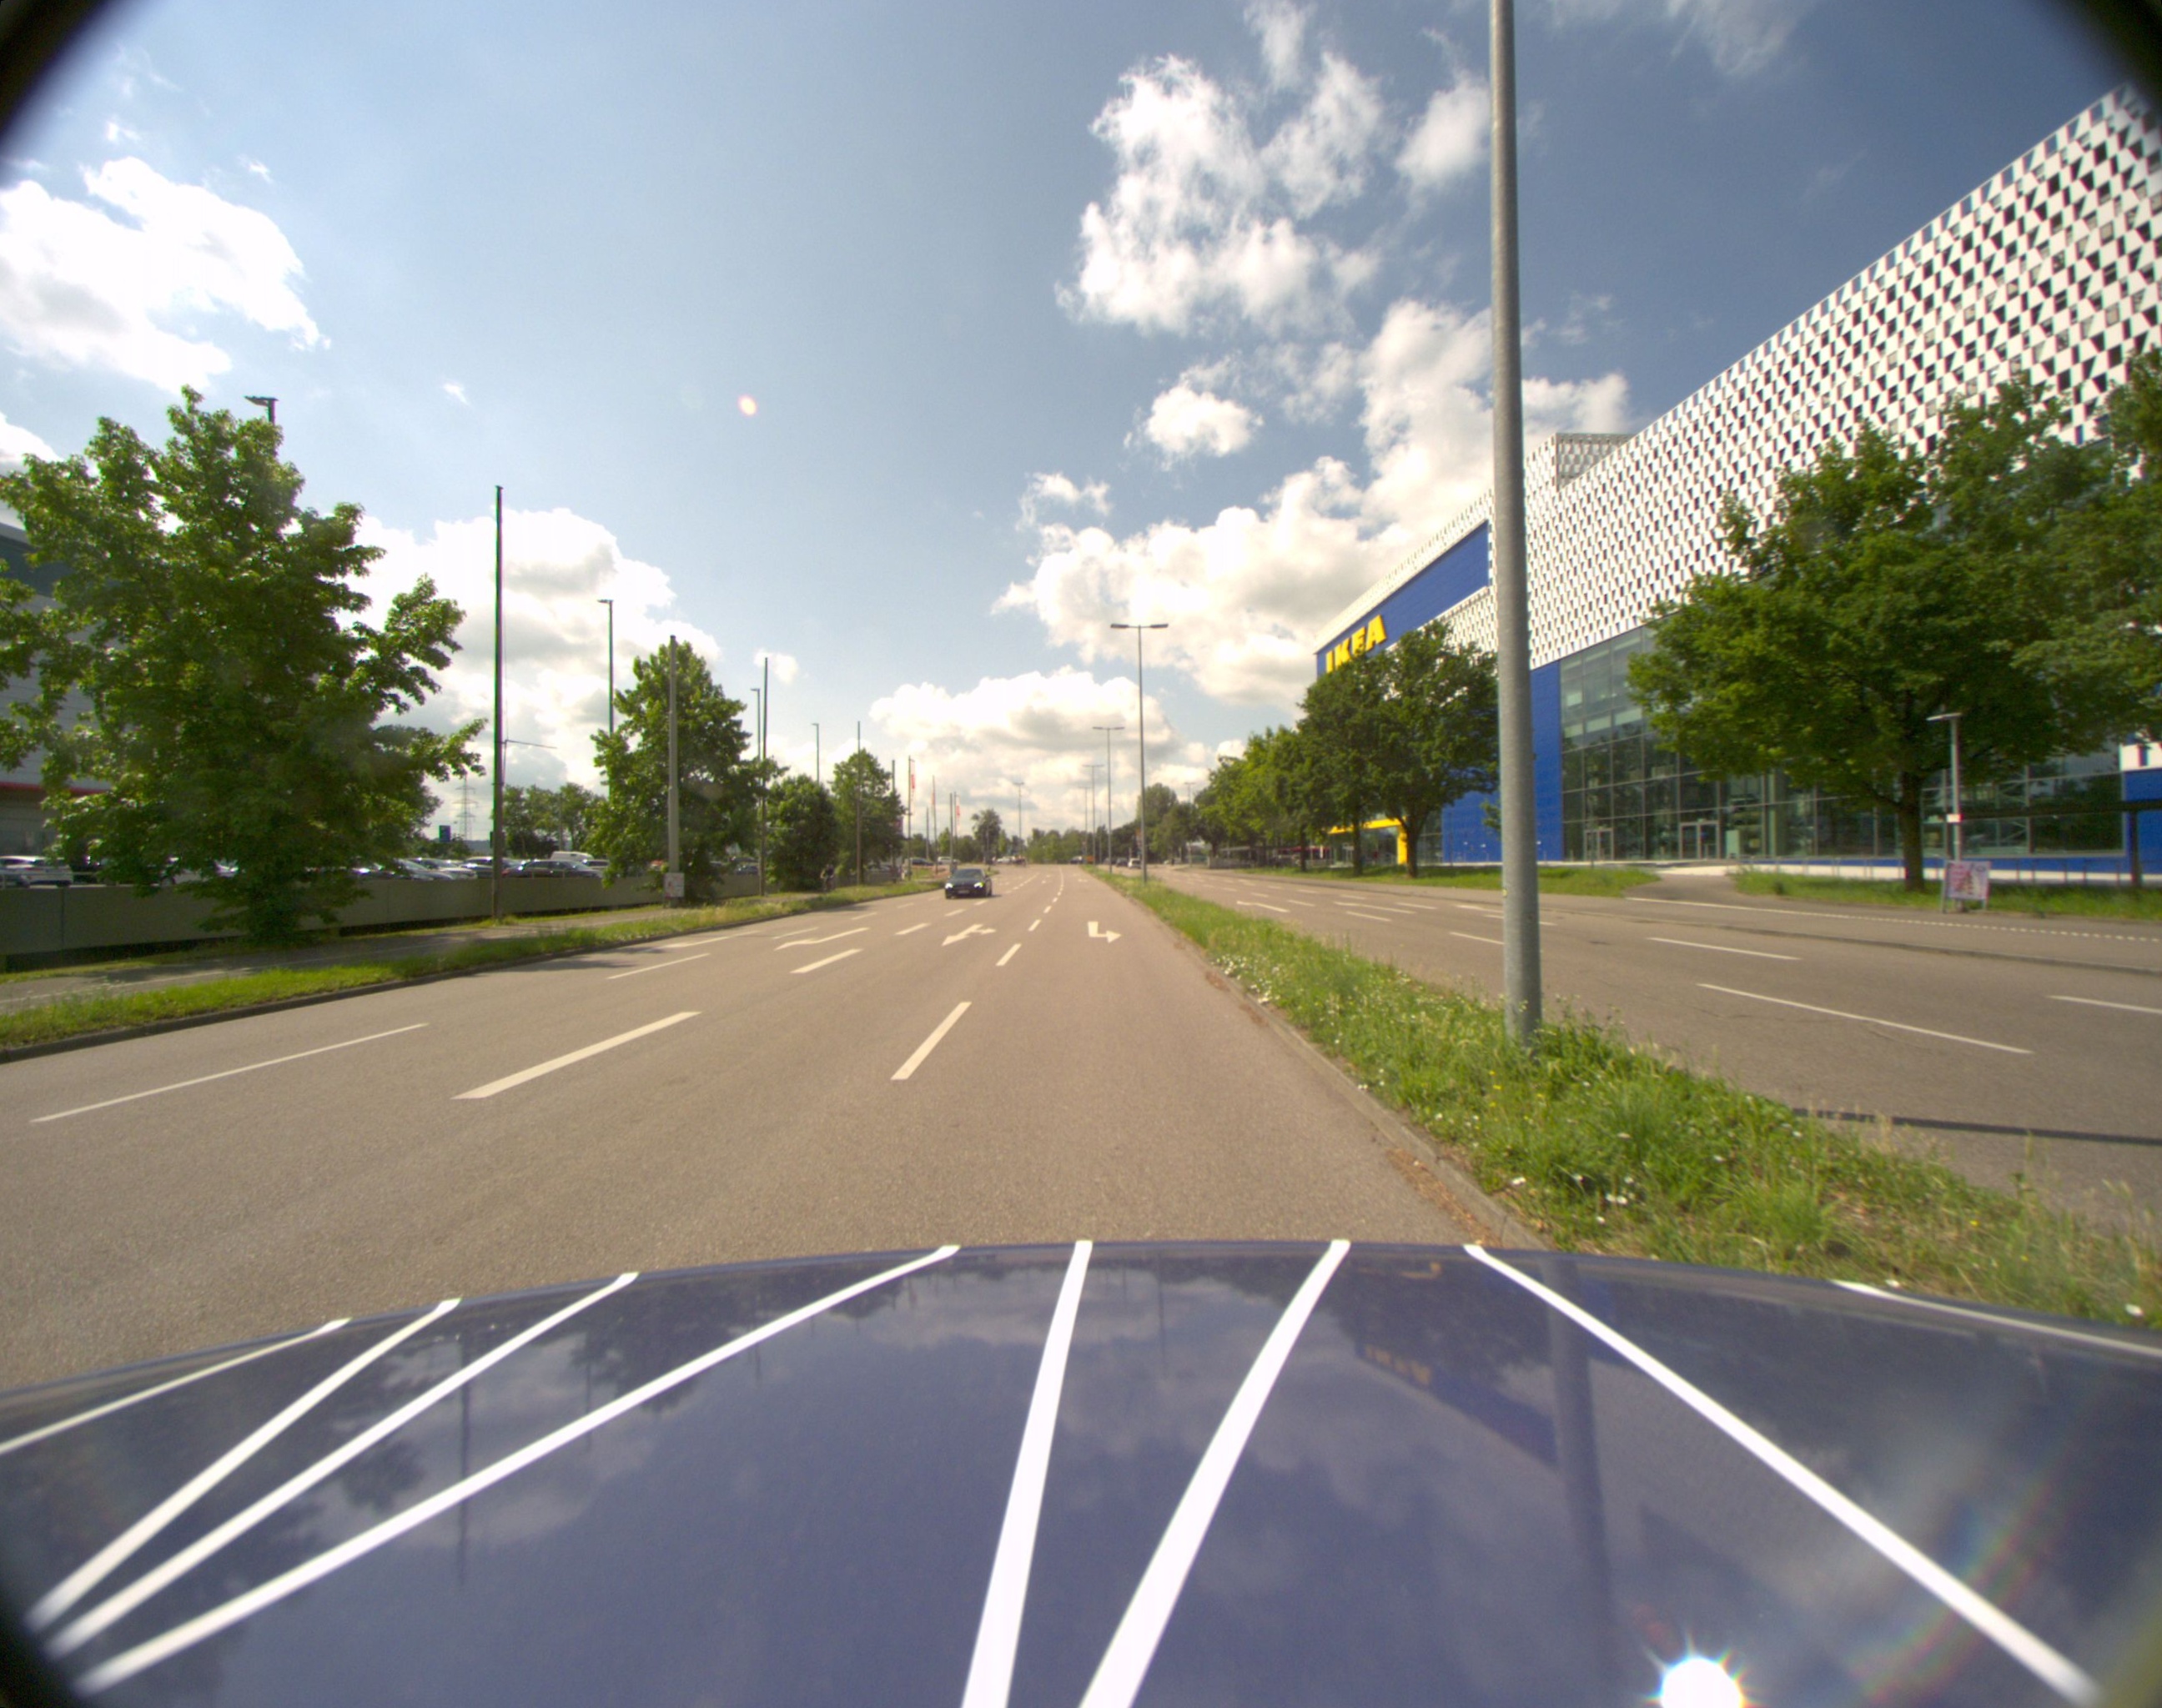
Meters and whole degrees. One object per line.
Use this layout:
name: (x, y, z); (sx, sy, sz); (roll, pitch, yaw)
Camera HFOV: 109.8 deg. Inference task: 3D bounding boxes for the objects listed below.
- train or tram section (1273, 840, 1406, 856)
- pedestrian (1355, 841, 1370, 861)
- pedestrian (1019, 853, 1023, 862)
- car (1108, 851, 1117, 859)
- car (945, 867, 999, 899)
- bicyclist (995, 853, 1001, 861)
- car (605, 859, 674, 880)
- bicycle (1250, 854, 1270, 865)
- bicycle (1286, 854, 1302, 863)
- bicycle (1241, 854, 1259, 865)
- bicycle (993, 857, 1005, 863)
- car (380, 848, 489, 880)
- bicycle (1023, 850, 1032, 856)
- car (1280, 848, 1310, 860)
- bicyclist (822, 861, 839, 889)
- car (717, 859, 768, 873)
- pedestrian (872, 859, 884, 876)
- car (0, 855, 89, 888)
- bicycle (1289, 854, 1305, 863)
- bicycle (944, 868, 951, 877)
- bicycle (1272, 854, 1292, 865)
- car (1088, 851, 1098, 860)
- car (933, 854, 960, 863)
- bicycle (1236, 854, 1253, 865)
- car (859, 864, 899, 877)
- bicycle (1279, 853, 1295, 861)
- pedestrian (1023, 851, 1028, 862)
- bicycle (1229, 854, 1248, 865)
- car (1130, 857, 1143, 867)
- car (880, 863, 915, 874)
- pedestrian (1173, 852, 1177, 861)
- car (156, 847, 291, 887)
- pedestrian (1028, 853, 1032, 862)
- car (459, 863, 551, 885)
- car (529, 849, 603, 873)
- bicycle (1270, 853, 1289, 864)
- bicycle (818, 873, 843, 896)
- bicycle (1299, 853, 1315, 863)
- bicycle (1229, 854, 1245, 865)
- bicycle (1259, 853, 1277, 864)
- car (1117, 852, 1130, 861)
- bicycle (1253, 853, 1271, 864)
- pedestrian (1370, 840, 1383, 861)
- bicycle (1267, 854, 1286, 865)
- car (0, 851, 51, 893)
train or tram section: (51.373, -1.178, 151.438); (25.117, 3.014, 4.529); (0, 0, -3)
pedestrian: (25.081, -0.267, 67.785); (0.952, 1.692, 0.887); (-2, 0, -1)
pedestrian: (-10.156, 0.545, 127.922); (0.585, 1.515, 0.469); (-2, 1, 8)
car: (5.645, 0.240, 137.462); (1.415, 1.383, 4.095); (1, 0, -1)
car: (-5.125, 1.337, 36.158); (1.797, 1.311, 4.163); (-2, 0, 2)
bicyclist: (-13.986, 0.467, 128.206); (0.689, 1.317, 0.591); (-1, -1, -39)
car: (-33.693, 1.179, 58.081); (4.194, 1.543, 1.764); (0, -1, -3)
bicycle: (19.822, 0.595, 84.144); (1.930, 1.176, 0.629); (-2, 0, -2)
bicycle: (27.298, 0.614, 97.420); (1.935, 1.083, 0.520); (-2, 0, -5)
bicycle: (19.808, 0.640, 89.026); (1.930, 1.265, 0.629); (-2, 0, -2)
bicycle: (-13.880, 0.938, 128.275); (1.991, 0.955, 0.595); (-1, -1, -40)
car: (-34.715, 0.527, 40.893); (3.998, 1.562, 1.999); (-2, 0, -3)
bicycle: (-9.284, -0.178, 132.321); (1.508, 1.158, 0.619); (-1, -1, -44)
car: (39.860, 0.027, 141.527); (4.821, 2.001, 1.999); (-2, -1, -5)
bicyclist: (-12.677, 1.061, 38.515); (0.617, 1.404, 0.715); (-1, 0, -1)
car: (-34.628, 1.246, 77.813); (4.369, 1.354, 1.847); (1, 0, 0)
pedestrian: (-20.918, 1.379, 78.350); (0.782, 1.771, 0.874); (-2, -1, 41)
car: (-49.078, 0.842, 35.191); (3.997, 1.411, 1.629); (-2, -1, -1)
bicycle: (27.376, 0.576, 96.397); (1.940, 1.064, 0.528); (-1, 1, -6)
bicycle: (-14.150, 1.934, 80.713); (0.518, 0.947, 1.543); (-2, 1, -1)
bicycle: (22.030, 0.583, 83.202); (1.930, 1.177, 0.629); (-2, 0, -2)
car: (2.224, 0.259, 138.024); (1.608, 1.484, 4.131); (1, 0, -2)
car: (-23.756, 0.782, 134.019); (4.495, 1.404, 2.013); (0, 0, -4)
bicycle: (19.690, 0.630, 91.397); (1.930, 1.265, 0.629); (-2, 0, -2)
car: (-24.753, 2.013, 93.168); (4.369, 1.468, 1.857); (-2, 0, 0)
bicycle: (27.143, 0.417, 100.218); (1.940, 1.064, 0.528); (-1, 1, -6)
pedestrian: (-9.320, 0.446, 127.000); (0.688, 1.718, 0.701); (0, 2, 10)
bicycle: (19.157, 0.665, 92.532); (2.095, 1.265, 0.629); (-2, 0, -2)
car: (8.028, 1.130, 109.819); (1.647, 1.420, 3.670); (0, 0, 0)
car: (-25.043, 1.976, 103.676); (4.370, 1.431, 1.796); (-1, 0, -1)
pedestrian: (16.388, 0.456, 132.286); (0.439, 1.481, 0.619); (-1, 1, -18)
car: (-40.262, 0.616, 35.749); (3.997, 1.710, 2.000); (-2, -1, -1)
pedestrian: (-8.608, 0.515, 129.168); (0.556, 1.515, 0.470); (-2, 0, 8)
car: (-34.546, 1.188, 45.641); (4.194, 1.317, 1.688); (0, 0, -1)
car: (-69.397, 0.956, 102.539); (7.898, 3.136, 3.122); (-1, 1, 2)
bicycle: (22.007, 0.501, 84.211); (1.930, 1.265, 0.629); (-2, 0, -2)
bicycle: (-12.668, 1.533, 38.496); (0.625, 1.061, 1.968); (0, 0, -1)
bicycle: (28.209, 0.444, 94.830); (1.940, 1.202, 0.528); (-1, 1, -6)
bicycle: (19.515, 0.659, 95.036); (1.930, 1.265, 0.629); (-2, 0, -2)
bicycle: (21.961, 0.569, 89.099); (1.930, 1.265, 0.629); (-2, 0, -2)
car: (6.871, 0.419, 121.984); (1.668, 1.413, 4.517); (1, 0, -2)
bicycle: (21.819, 0.571, 91.471); (1.930, 1.265, 0.629); (-2, 0, -2)
pedestrian: (26.529, -0.302, 68.151); (0.755, 1.812, 0.887); (-2, 0, -1)
bicycle: (21.874, 0.623, 85.211); (1.930, 1.172, 0.629); (-2, 0, -2)
car: (-39.202, 0.676, 26.374); (4.195, 1.425, 1.893); (-1, -1, -2)
